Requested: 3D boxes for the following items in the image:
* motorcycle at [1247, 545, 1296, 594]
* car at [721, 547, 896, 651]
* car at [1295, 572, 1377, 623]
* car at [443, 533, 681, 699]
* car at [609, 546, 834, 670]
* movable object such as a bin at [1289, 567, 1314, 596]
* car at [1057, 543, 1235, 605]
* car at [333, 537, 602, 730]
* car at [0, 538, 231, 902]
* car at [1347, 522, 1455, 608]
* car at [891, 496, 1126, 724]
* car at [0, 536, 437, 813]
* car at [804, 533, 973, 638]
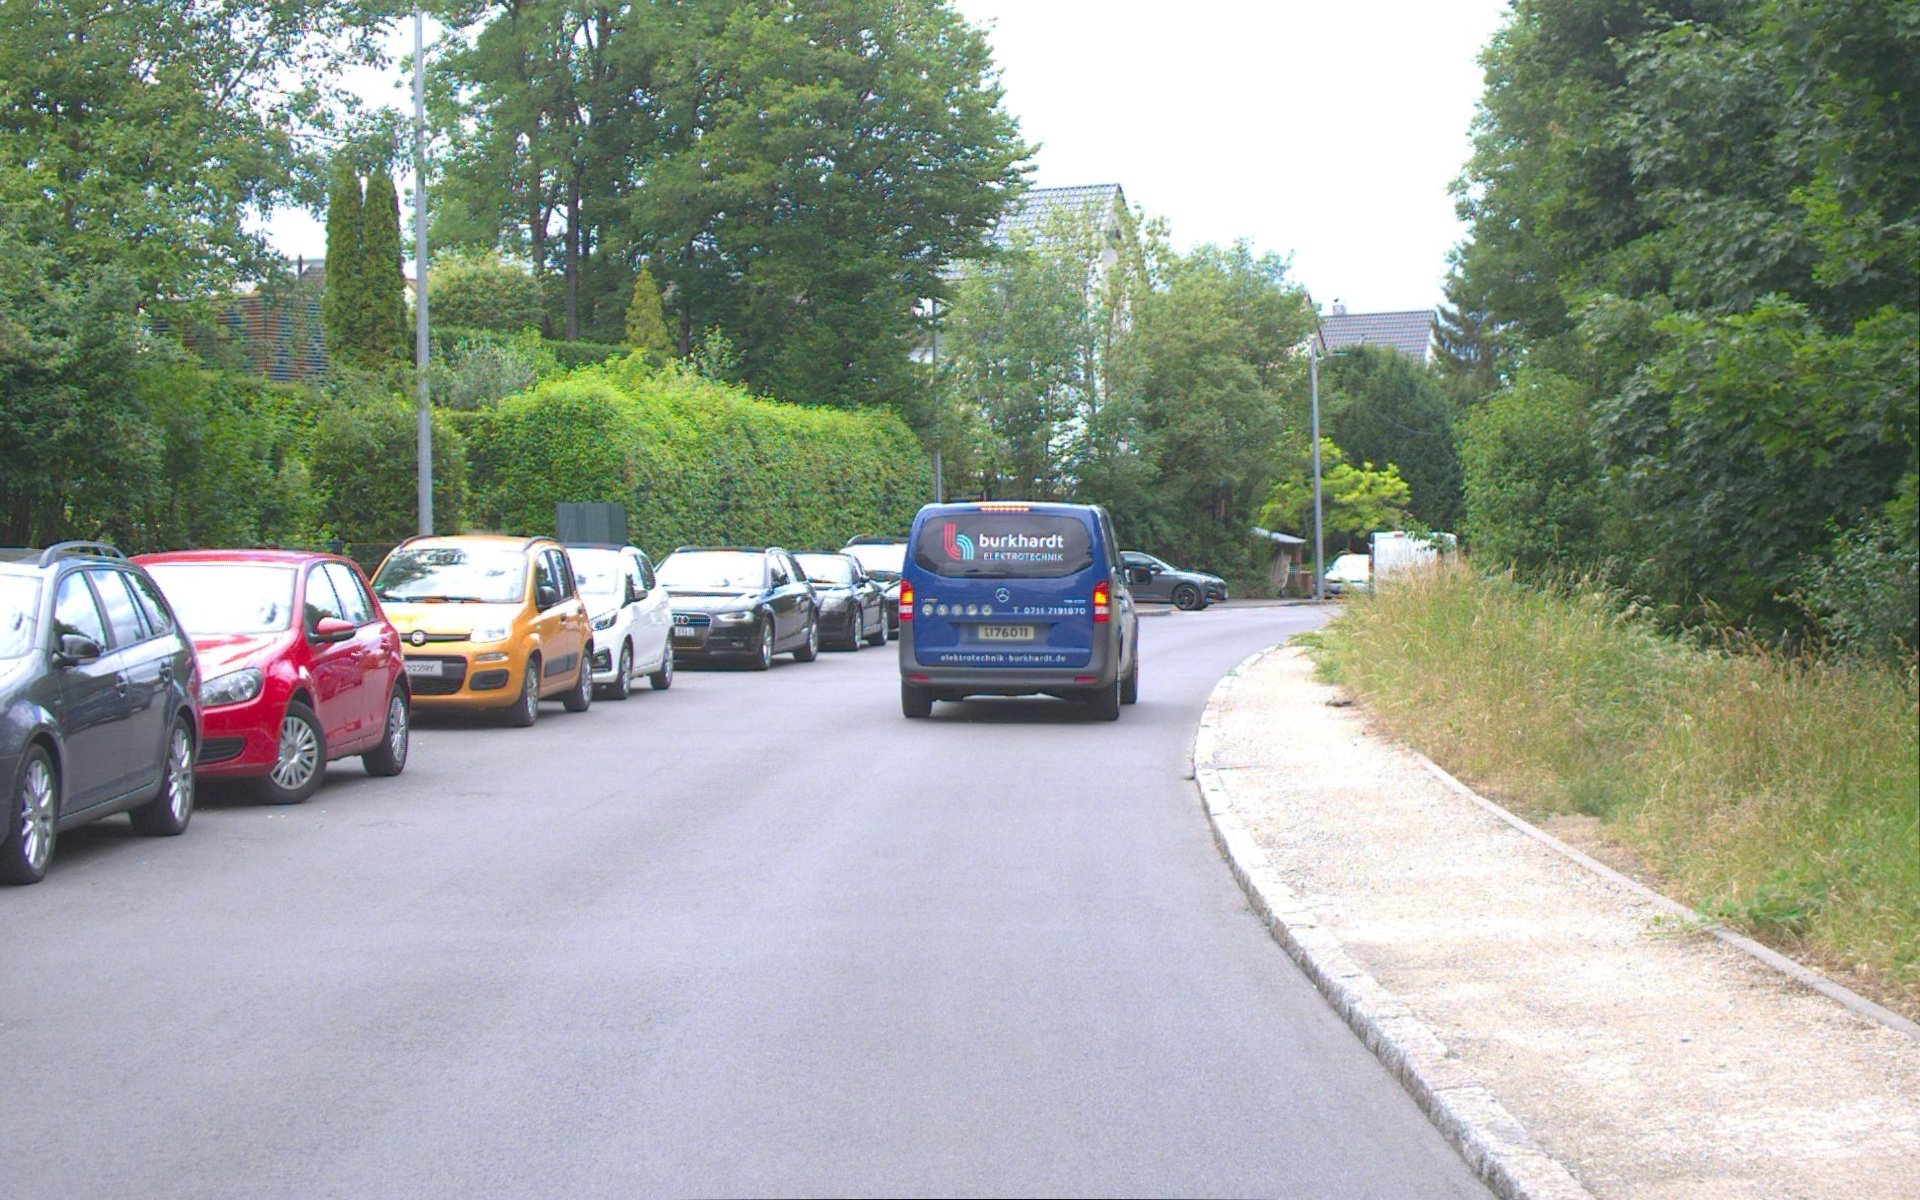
[{"bbox_3d":[9.704,-0.936,107.008,0.810,1.480,2.893,1,0,19],"label":"motorcycle"},{"bbox_3d":[-2.040,-0.046,47.435,1.712,1.336,4.107,1,1,7],"label":"car"},{"bbox_3d":[11.371,-0.077,103.763,1.707,1.463,4.072,1,0,17],"label":"car"},{"bbox_3d":[-3.817,0.117,33.469,1.588,1.509,3.590,1,1,5],"label":"car"},{"bbox_3d":[-2.779,0.051,41.026,1.719,1.380,4.662,1,1,8],"label":"car"},{"bbox_3d":[10.807,-0.580,108.857,0.591,0.906,0.700,1,0,23],"label":"movable object such as a bin"},{"bbox_3d":[4.578,-0.639,84.276,4.168,1.442,1.739,1,0,10],"label":"car"},{"bbox_3d":[-4.075,0.231,28.945,1.544,1.509,3.644,1,1,3],"label":"car"},{"bbox_3d":[-4.797,0.464,16.115,1.707,1.509,4.495,0,1,1],"label":"car"},{"bbox_3d":[11.048,-0.871,85.764,2.207,2.056,6.131,0,1,12],"label":"car"},{"bbox_3d":[0.449,0.046,30.831,1.936,1.873,4.530,0,1,1],"label":"car"},{"bbox_3d":[-4.511,0.371,21.076,1.707,1.509,4.363,1,1,3],"label":"car"},{"bbox_3d":[-1.059,-0.252,53.147,1.657,1.528,4.472,1,1,11],"label":"car"}]
